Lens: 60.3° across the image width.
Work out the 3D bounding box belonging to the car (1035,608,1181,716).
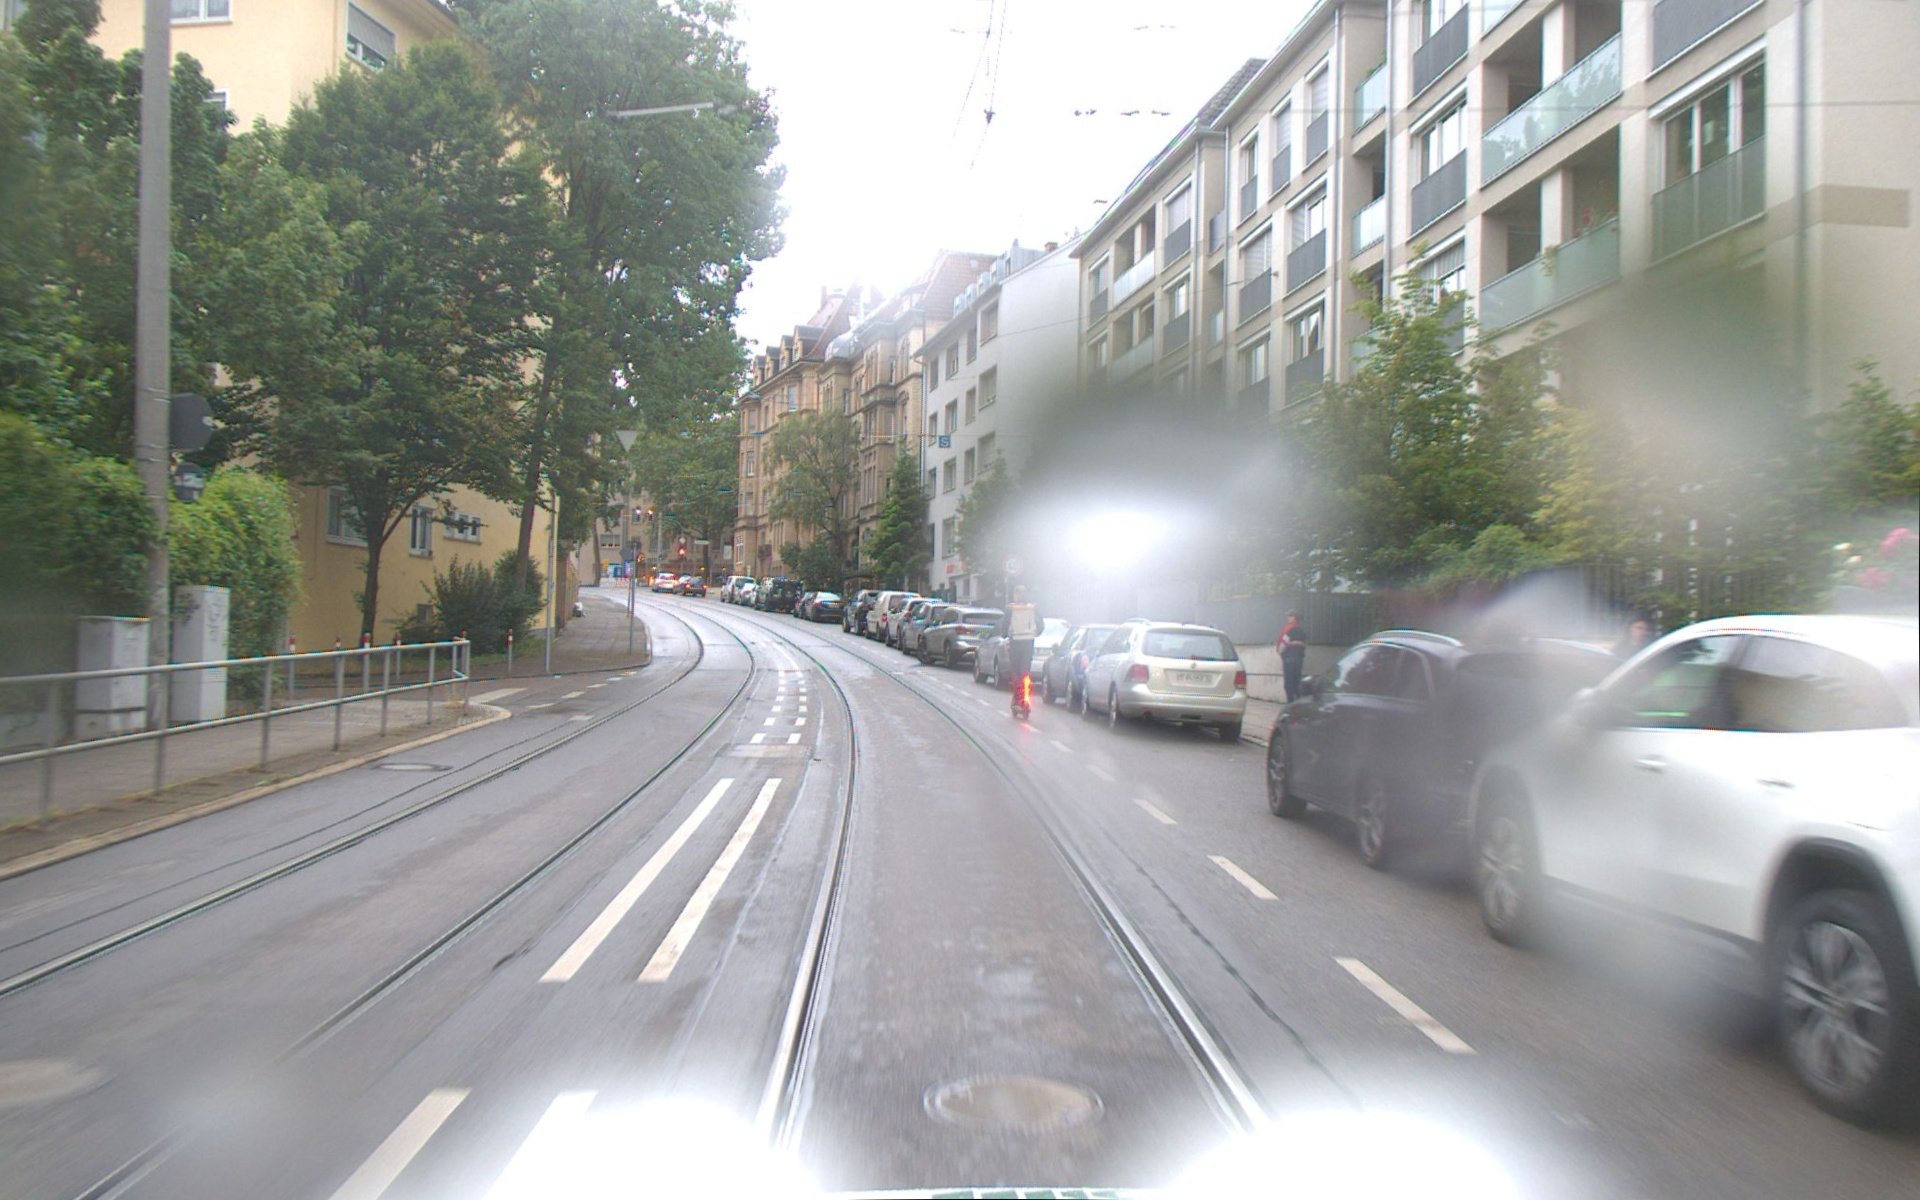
[{"bbox_3d":[2.392,0.975,27.590,1.669,1.538,3.709,3,0,-7],"label":"car"}]

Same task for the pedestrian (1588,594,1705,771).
[{"bbox_3d":[6.302,0.731,15.219,0.559,1.569,0.927,-1,0,-10],"label":"pedestrian"}]

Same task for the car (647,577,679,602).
[{"bbox_3d":[-23.092,-0.845,128.476,1.828,1.764,4.118,3,0,-19],"label":"car"}]

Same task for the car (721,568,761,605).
[{"bbox_3d":[-14.549,-0.910,109.829,1.994,2.256,4.123,3,0,-15],"label":"car"}]

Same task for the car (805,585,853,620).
[{"bbox_3d":[-6.356,0.112,79.876,1.735,1.544,4.128,3,0,-12],"label":"car"}]

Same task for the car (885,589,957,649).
[{"bbox_3d":[-1.366,0.602,55.726,1.735,1.818,4.238,3,0,-10],"label":"car"}]

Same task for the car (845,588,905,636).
[{"bbox_3d":[-3.439,0.458,66.454,1.735,1.713,4.236,3,0,-12],"label":"car"}]

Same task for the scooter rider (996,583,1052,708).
[{"bbox_3d":[0.914,0.640,23.842,0.611,1.735,0.843,3,0,-7],"label":"scooter rider"}]

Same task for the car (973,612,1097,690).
[{"bbox_3d":[1.486,1.014,34.514,1.729,1.460,4.630,1,0,-9],"label":"car"}]

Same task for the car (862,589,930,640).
[{"bbox_3d":[-2.439,0.508,61.864,1.736,1.713,4.235,3,0,-13],"label":"car"}]

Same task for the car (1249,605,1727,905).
[{"bbox_3d":[3.389,0.884,11.632,1.667,1.538,4.569,4,0,-2],"label":"car"}]

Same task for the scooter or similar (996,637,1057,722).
[{"bbox_3d":[0.941,1.123,23.764,0.504,1.067,2.006,4,0,-7],"label":"scooter or similar"}]

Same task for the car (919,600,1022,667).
[{"bbox_3d":[0.224,0.857,44.156,1.737,1.643,4.232,1,0,-15],"label":"car"}]

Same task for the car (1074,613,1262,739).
[{"bbox_3d":[2.753,0.972,22.871,1.629,1.497,4.503,3,-1,-5],"label":"car"}]

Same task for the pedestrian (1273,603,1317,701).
[{"bbox_3d":[5.509,0.849,27.227,0.558,1.569,0.650,-1,0,-2],"label":"pedestrian"}]

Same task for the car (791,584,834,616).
[{"bbox_3d":[-7.593,-0.020,84.801,1.621,1.563,3.876,-1,1,-13],"label":"car"}]

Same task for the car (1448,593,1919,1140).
[{"bbox_3d":[3.663,0.836,6.716,1.801,1.600,4.245,3,0,-4],"label":"car"}]

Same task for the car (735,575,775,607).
[{"bbox_3d":[-12.985,-0.606,104.678,1.993,1.856,4.126,3,0,-13],"label":"car"}]

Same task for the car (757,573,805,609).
[{"bbox_3d":[-10.204,-0.540,93.959,1.995,1.856,4.349,3,0,-16],"label":"car"}]

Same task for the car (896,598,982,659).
[{"bbox_3d":[-0.685,0.826,50.236,1.736,1.643,4.235,3,0,-12],"label":"car"}]

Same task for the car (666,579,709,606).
[{"bbox_3d":[-20.273,-0.567,123.087,2.003,1.764,4.105,3,0,-26],"label":"car"}]
